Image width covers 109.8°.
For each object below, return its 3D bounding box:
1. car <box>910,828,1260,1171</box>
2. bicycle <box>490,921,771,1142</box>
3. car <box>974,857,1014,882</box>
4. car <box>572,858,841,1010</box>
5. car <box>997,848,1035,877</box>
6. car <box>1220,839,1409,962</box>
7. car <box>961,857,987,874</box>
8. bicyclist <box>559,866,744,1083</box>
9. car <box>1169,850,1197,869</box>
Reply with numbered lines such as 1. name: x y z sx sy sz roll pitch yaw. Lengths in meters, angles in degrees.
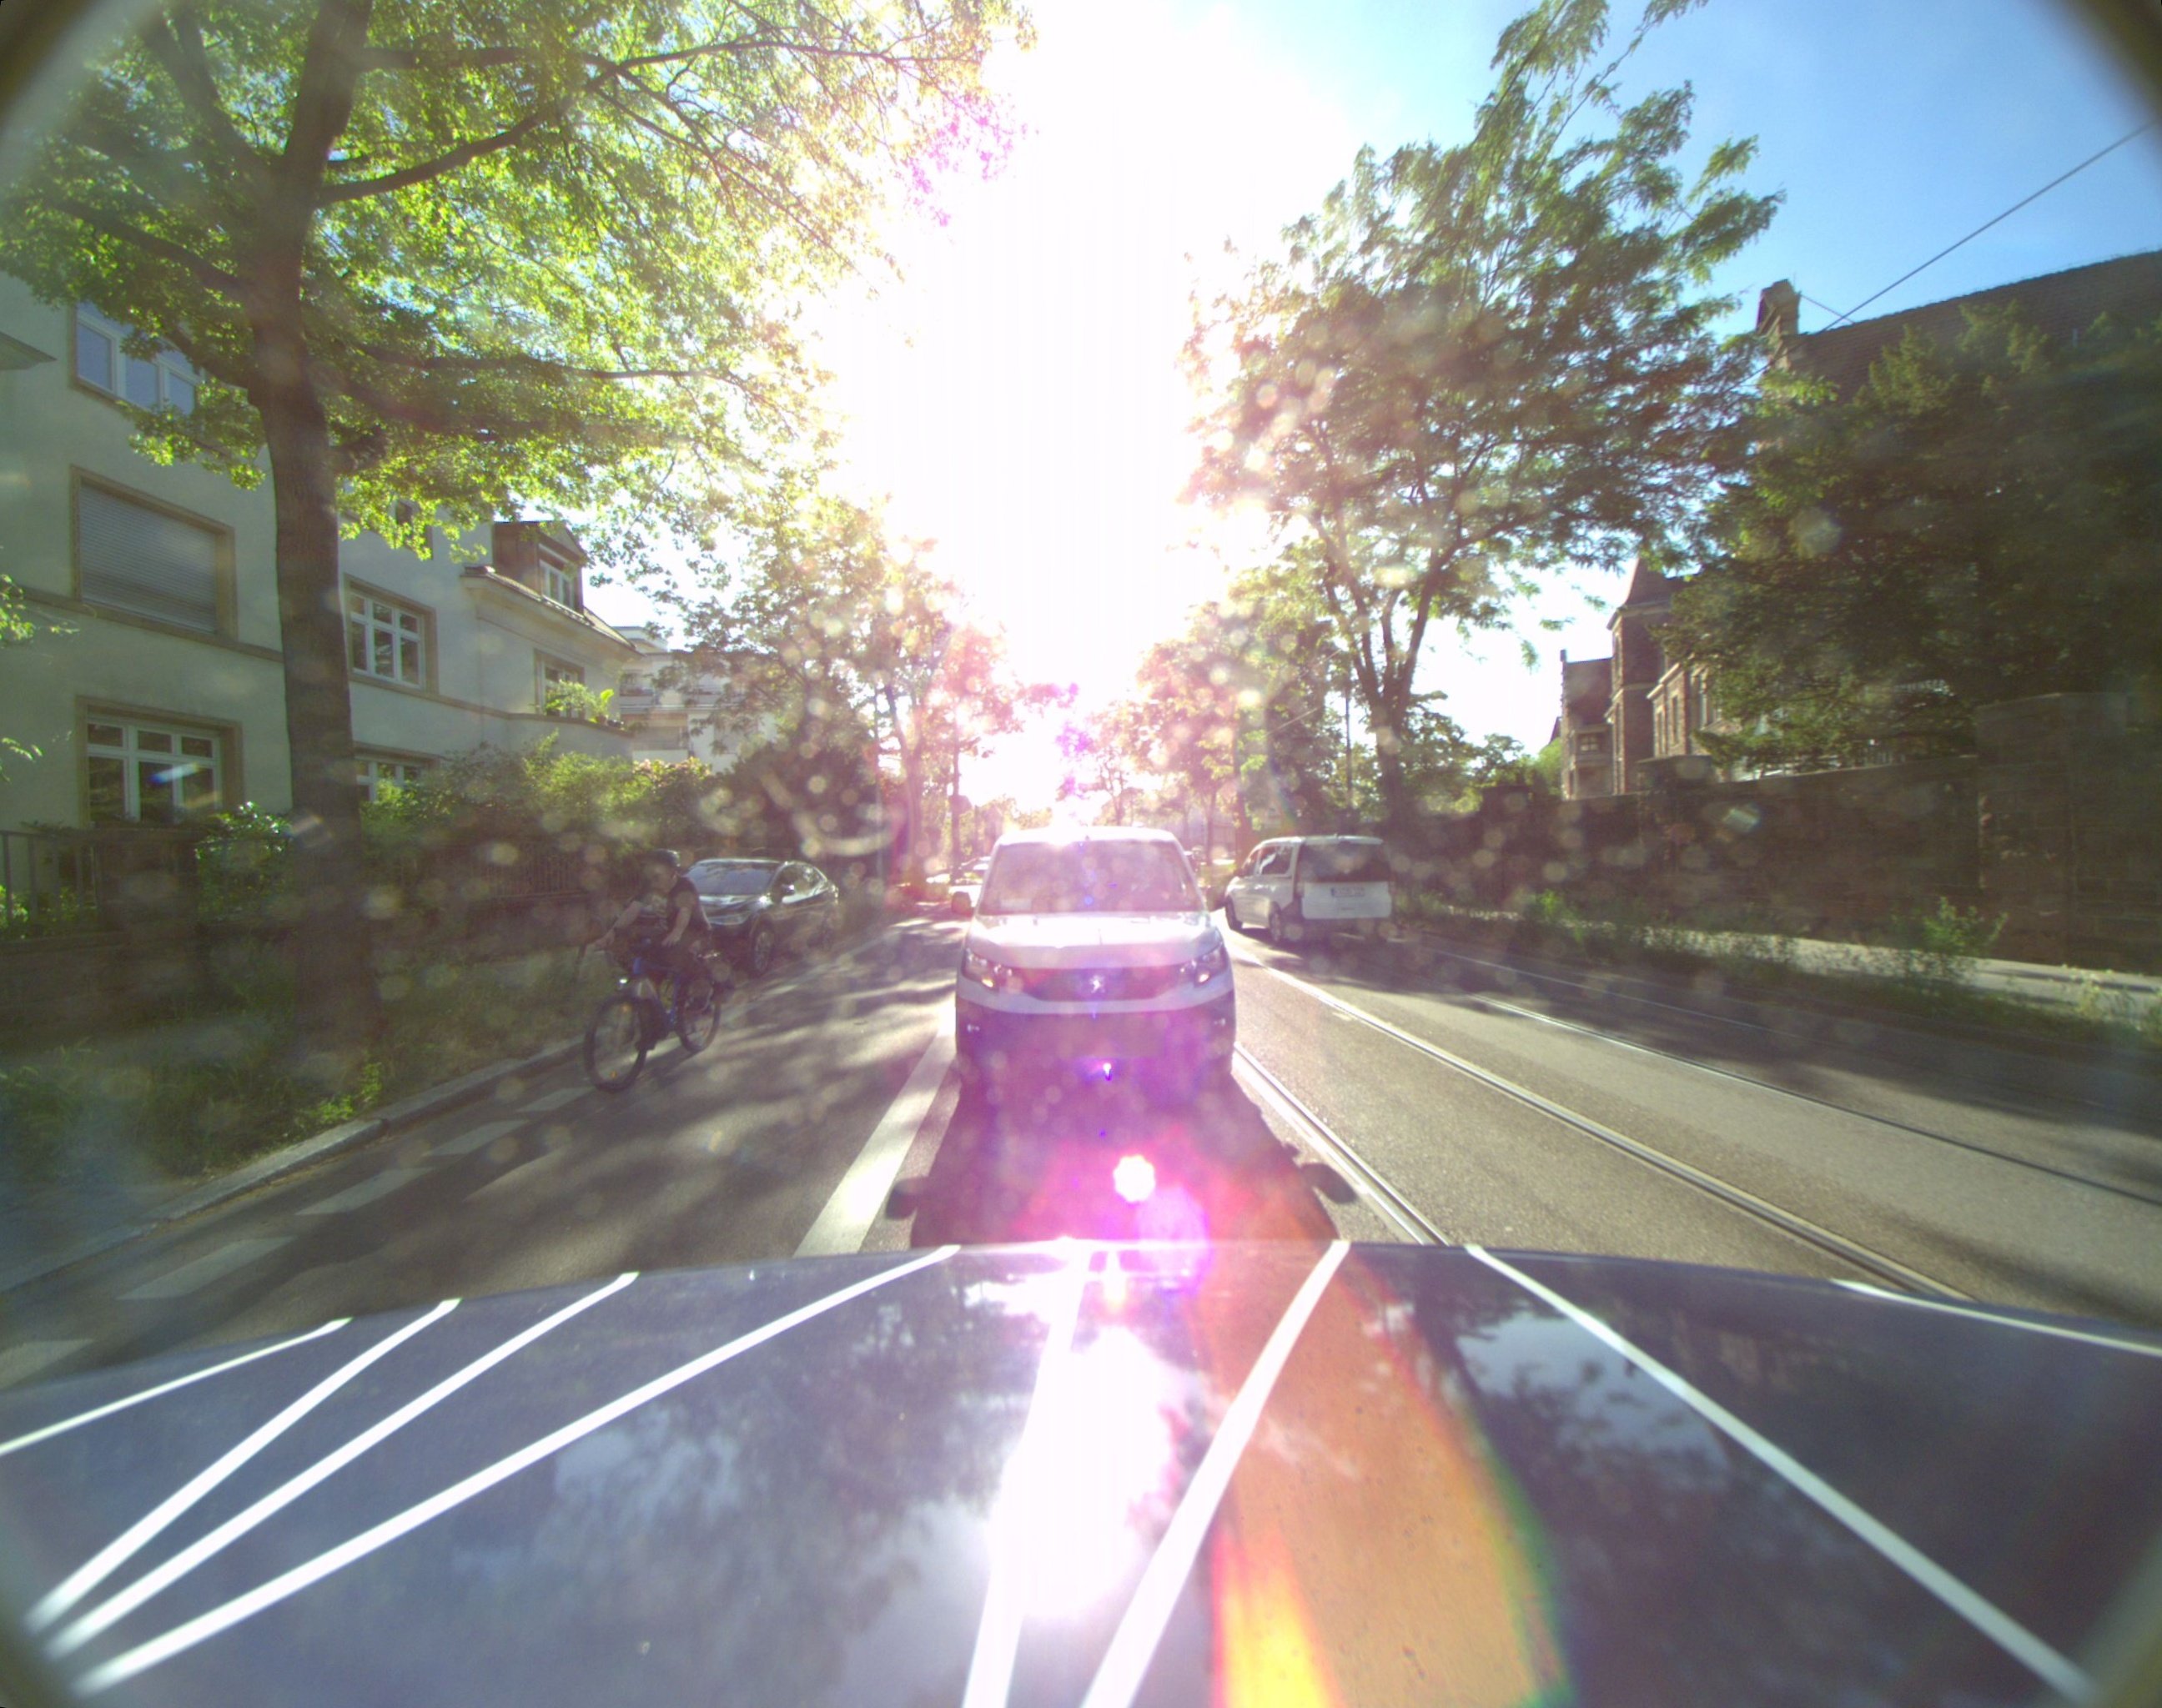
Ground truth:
1. car: -0.009 0.752 6.203 1.832 1.788 4.333 -1 1 -1
2. bicycle: -3.251 1.205 5.811 0.831 1.148 2.094 -2 1 0
3. car: -5.155 0.886 45.297 1.719 1.332 3.918 -2 1 3
4. car: -5.263 0.999 11.454 1.999 1.733 4.169 -2 1 -2
5. car: -4.383 0.530 51.664 1.904 1.819 4.248 -2 1 3
6. car: 3.896 0.683 13.471 1.833 1.800 3.998 -1 1 -5
7. car: -9.929 1.053 70.467 1.741 1.434 3.999 -2 1 1
8. bicyclist: -3.263 0.867 5.875 0.823 1.493 0.934 -2 1 1
9. car: 8.385 0.434 62.853 1.741 1.434 3.999 -2 1 1
